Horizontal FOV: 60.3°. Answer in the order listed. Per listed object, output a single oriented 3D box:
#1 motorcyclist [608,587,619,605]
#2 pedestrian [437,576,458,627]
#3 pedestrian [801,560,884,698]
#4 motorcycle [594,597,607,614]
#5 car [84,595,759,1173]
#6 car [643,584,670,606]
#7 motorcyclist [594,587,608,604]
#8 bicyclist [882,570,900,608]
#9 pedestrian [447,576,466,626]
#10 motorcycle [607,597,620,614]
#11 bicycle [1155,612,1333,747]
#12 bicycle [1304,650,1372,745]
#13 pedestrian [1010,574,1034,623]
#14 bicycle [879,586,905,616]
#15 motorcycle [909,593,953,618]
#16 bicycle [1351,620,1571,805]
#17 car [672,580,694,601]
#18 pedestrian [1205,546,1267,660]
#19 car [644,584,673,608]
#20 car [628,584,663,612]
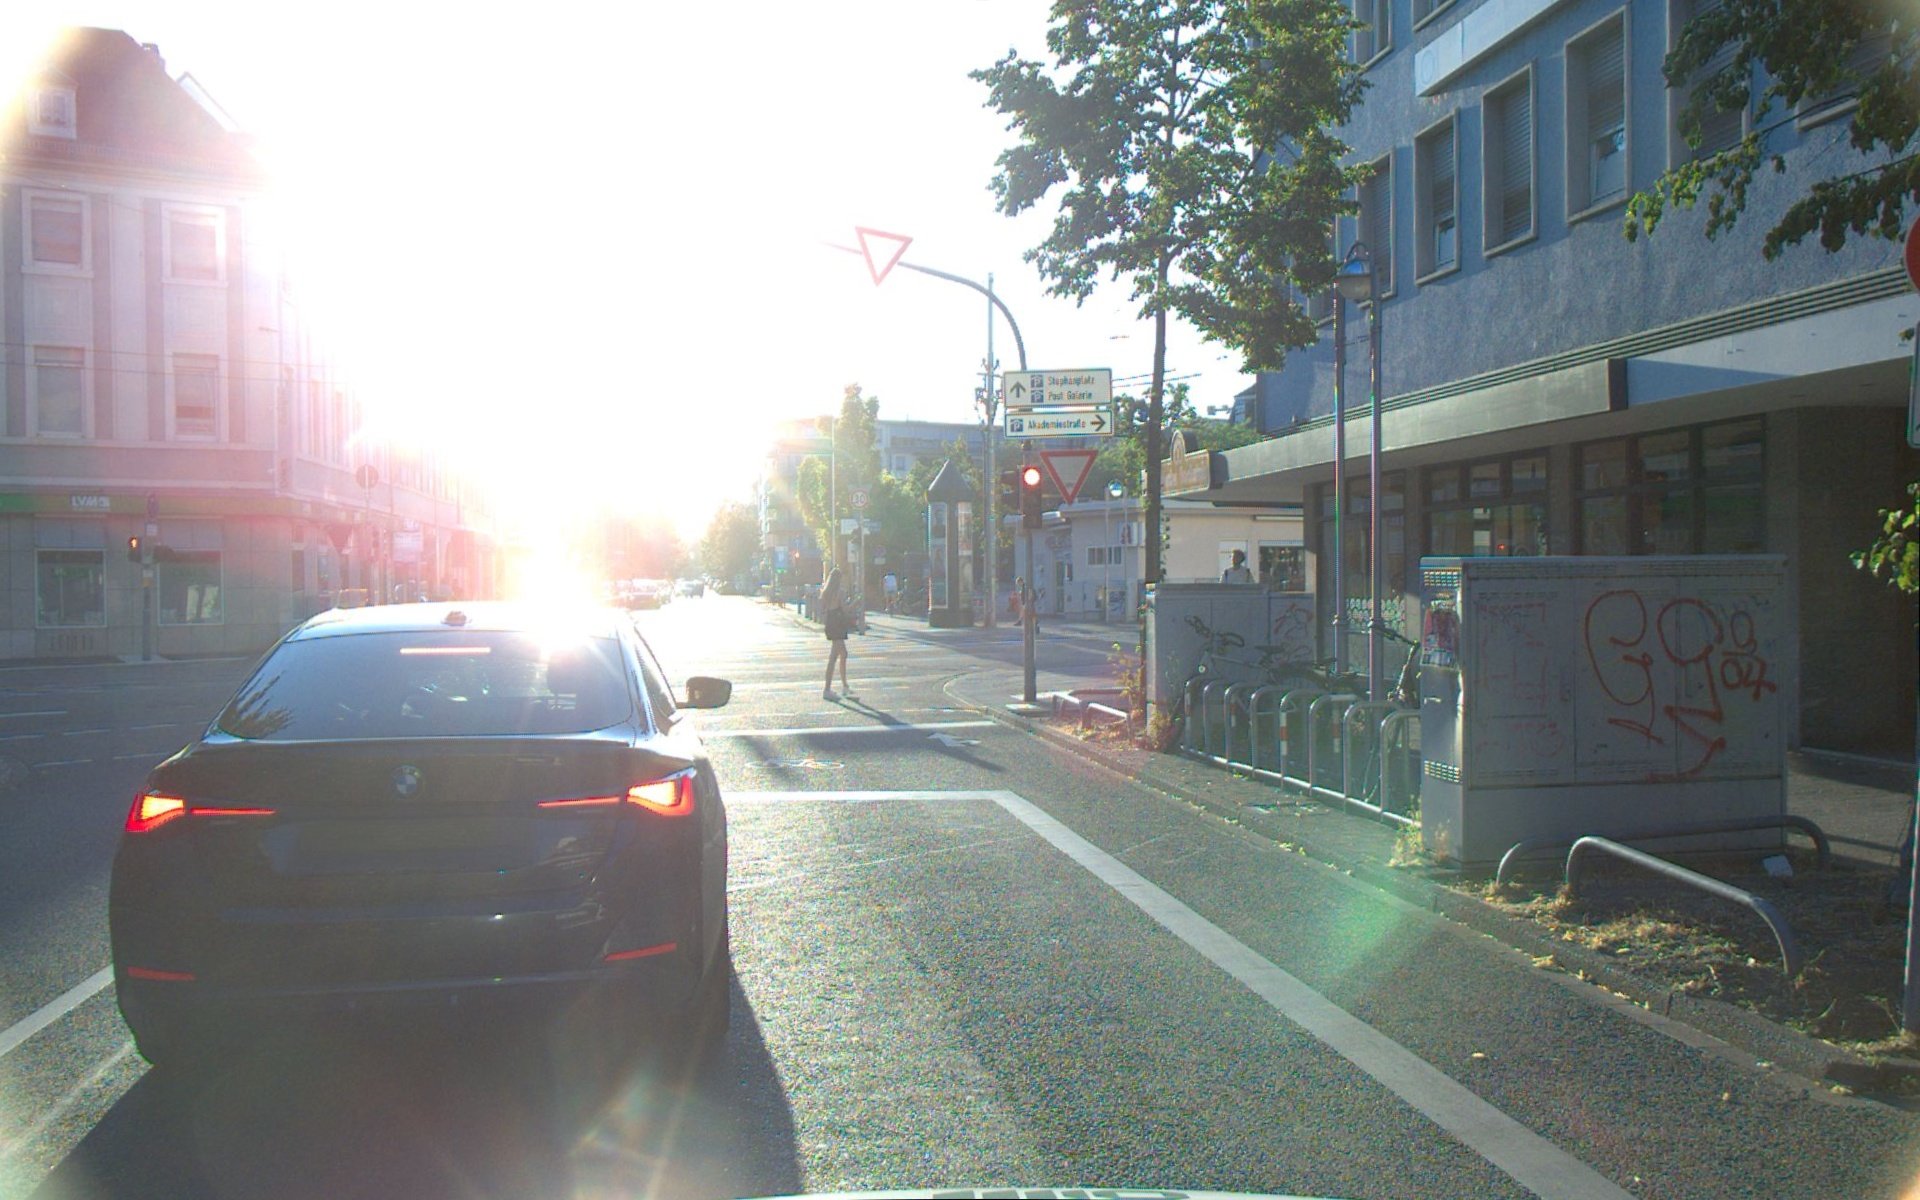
[{"bbox_3d":[-19.545,-0.239,93.353,0.564,1.013,0.701,1,0,-9],"label":"motorcyclist"},{"bbox_3d":[-19.326,0.041,62.372,0.631,1.909,0.630,1,0,-9],"label":"pedestrian"},{"bbox_3d":[-1.653,0.403,23.297,0.990,1.893,0.634,1,0,-29],"label":"pedestrian"},{"bbox_3d":[-20.375,0.286,93.832,0.564,0.931,2.196,1,0,-8],"label":"motorcycle"},{"bbox_3d":[-1.743,0.721,6.450,1.705,1.453,4.214,0,0,-10],"label":"car"},{"bbox_3d":[-22.594,-0.388,123.143,1.784,1.545,3.992,-1,1,-9],"label":"car"},{"bbox_3d":[-20.368,-0.255,93.853,0.564,0.931,2.196,1,0,-8],"label":"motorcyclist"},{"bbox_3d":[-2.816,-0.448,67.554,0.541,1.507,0.719,1,0,-17],"label":"bicyclist"},{"bbox_3d":[-19.403,0.034,63.739,0.605,1.909,0.676,1,0,-13],"label":"pedestrian"},{"bbox_3d":[-19.576,0.301,93.451,0.564,0.931,2.196,1,0,-8],"label":"motorcycle"},{"bbox_3d":[2.604,0.717,15.183,1.582,1.191,0.318,-1,0,-7],"label":"bicycle"},{"bbox_3d":[3.518,0.895,15.442,0.244,0.810,1.114,1,0,-7],"label":"bicycle"},{"bbox_3d":[2.026,-0.050,53.821,0.717,1.555,0.473,1,0,6],"label":"pedestrian"},{"bbox_3d":[-2.801,0.034,67.486,0.541,1.179,2.134,1,0,-17],"label":"bicycle"},{"bbox_3d":[-1.186,0.217,67.850,1.644,0.955,0.851,-1,1,-20],"label":"motorcycle"},{"bbox_3d":[3.463,0.776,11.459,1.413,1.241,0.383,1,0,-8],"label":"bicycle"},{"bbox_3d":[-25.844,-0.873,154.204,1.737,1.881,3.995,-1,1,-6],"label":"car"},{"bbox_3d":[4.597,0.041,27.598,0.820,1.874,0.677,-1,0,-9],"label":"pedestrian"},{"bbox_3d":[-20.506,-0.295,112.636,1.784,1.545,3.992,-1,1,-9],"label":"car"},{"bbox_3d":[-17.933,-0.123,94.385,1.784,1.545,3.992,-1,1,-9],"label":"car"}]
